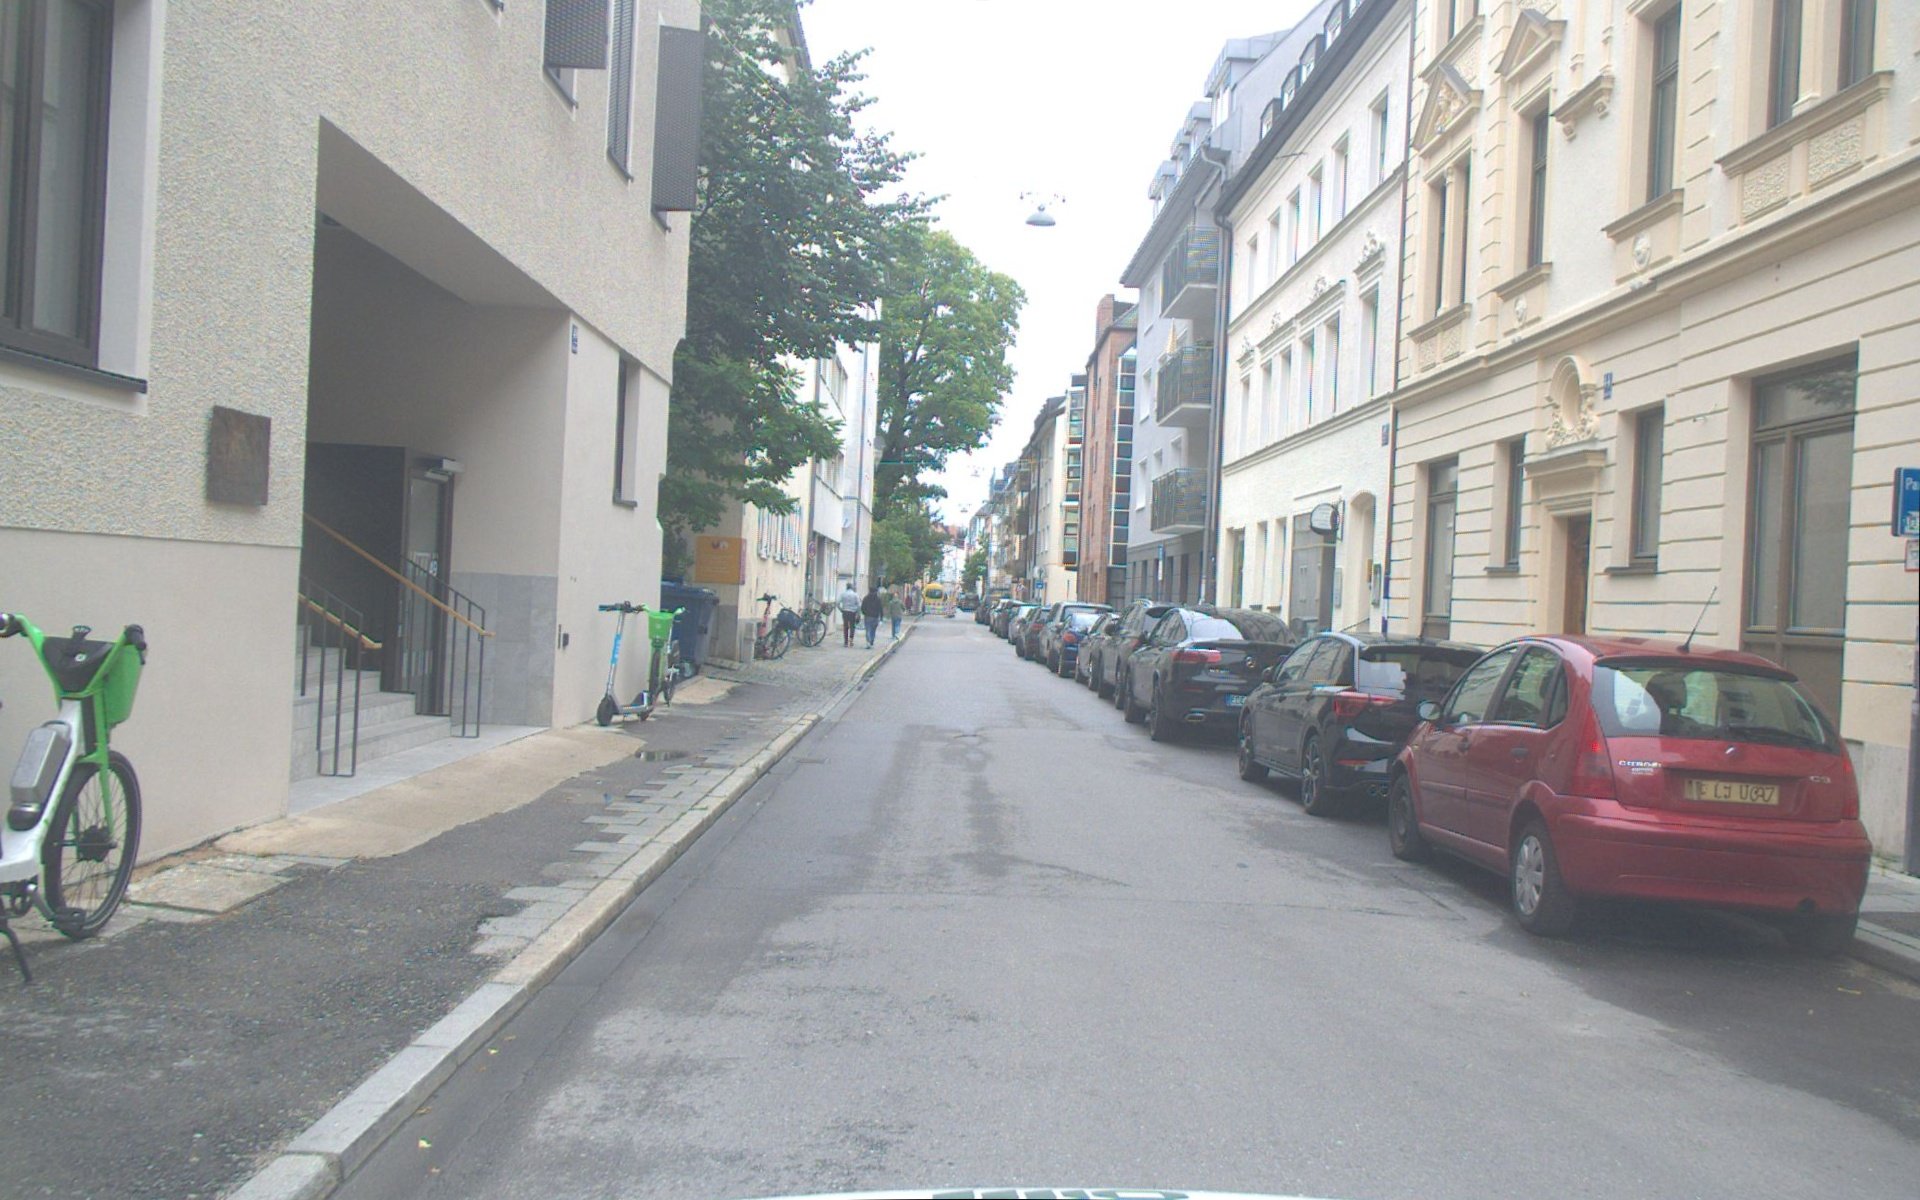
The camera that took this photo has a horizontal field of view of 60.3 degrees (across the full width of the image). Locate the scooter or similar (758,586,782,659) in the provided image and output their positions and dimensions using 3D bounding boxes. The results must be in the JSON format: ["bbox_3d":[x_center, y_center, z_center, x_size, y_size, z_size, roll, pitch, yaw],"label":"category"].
[{"bbox_3d":[-3.725,0.435,32.524,0.311,1.400,1.239,2,-1,-1],"label":"scooter or similar"}]

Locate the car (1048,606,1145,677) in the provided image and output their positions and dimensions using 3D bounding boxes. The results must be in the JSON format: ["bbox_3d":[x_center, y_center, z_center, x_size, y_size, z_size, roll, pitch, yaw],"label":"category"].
[{"bbox_3d":[2.935,0.871,36.277,1.771,1.387,3.945,2,0,0],"label":"car"}]

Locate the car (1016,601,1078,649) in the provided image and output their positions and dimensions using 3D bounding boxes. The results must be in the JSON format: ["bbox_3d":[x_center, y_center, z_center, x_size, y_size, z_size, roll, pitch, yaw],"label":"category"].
[{"bbox_3d":[2.941,0.819,56.499,1.710,1.487,4.149,3,0,-2],"label":"car"}]

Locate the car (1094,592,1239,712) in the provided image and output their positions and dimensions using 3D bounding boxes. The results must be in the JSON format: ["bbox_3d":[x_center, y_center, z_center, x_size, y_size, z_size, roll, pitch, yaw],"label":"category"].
[{"bbox_3d":[3.228,0.761,26.602,1.642,1.690,4.512,3,0,-1],"label":"car"}]

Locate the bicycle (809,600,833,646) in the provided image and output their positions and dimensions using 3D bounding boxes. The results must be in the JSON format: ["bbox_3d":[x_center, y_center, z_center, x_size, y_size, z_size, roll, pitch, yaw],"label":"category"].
[{"bbox_3d":[-3.708,0.599,44.115,0.551,1.179,1.718,3,0,-6],"label":"bicycle"}]

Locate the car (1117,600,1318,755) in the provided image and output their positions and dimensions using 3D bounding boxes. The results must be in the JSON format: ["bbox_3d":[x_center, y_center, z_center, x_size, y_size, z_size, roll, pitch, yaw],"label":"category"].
[{"bbox_3d":[3.099,0.860,20.782,1.667,1.635,4.684,3,0,-1],"label":"car"}]

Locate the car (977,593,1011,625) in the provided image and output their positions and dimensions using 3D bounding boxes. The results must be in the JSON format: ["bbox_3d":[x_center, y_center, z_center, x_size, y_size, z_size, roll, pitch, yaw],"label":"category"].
[{"bbox_3d":[2.192,0.563,107.421,1.766,1.851,3.998,6,0,-3],"label":"car"}]

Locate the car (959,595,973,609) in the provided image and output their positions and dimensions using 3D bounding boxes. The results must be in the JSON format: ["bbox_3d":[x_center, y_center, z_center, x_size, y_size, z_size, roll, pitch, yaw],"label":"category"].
[{"bbox_3d":[0.772,0.268,213.483,1.764,1.642,4.000,3,0,0],"label":"car"}]

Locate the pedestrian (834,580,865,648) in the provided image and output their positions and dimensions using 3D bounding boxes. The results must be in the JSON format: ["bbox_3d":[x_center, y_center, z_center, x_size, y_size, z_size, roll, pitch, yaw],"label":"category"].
[{"bbox_3d":[-3.088,0.390,46.304,0.704,1.827,0.916,4,-1,-1],"label":"pedestrian"}]

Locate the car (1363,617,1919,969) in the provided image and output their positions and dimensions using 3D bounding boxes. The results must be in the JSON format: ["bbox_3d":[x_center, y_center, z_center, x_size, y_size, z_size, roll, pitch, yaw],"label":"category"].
[{"bbox_3d":[3.708,0.929,9.684,1.642,1.518,3.852,3,0,-1],"label":"car"}]

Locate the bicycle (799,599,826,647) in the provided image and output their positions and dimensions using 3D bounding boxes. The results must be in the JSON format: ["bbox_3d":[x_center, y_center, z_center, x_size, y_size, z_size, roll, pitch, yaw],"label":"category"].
[{"bbox_3d":[-3.765,0.586,42.398,0.449,1.179,1.605,5,0,0],"label":"bicycle"}]

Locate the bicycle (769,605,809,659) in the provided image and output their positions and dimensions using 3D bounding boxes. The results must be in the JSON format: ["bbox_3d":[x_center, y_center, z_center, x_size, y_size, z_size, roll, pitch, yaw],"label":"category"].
[{"bbox_3d":[-3.527,0.641,34.259,0.690,1.001,1.821,7,-1,-5],"label":"bicycle"}]

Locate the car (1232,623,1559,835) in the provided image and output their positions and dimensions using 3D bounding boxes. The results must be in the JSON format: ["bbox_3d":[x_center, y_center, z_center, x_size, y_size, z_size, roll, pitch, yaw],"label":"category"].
[{"bbox_3d":[3.559,0.986,14.261,1.642,1.417,4.065,3,0,-1],"label":"car"}]

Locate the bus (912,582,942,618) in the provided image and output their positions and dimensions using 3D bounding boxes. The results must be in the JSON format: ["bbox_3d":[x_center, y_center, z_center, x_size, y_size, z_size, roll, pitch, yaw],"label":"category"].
[{"bbox_3d":[-3.042,0.019,153.255,2.540,3.156,6.305,2,0,0],"label":"bus"}]

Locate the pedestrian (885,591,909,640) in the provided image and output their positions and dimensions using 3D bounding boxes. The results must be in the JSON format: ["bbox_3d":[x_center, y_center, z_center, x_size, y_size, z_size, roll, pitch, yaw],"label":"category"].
[{"bbox_3d":[-2.278,0.566,60.006,0.738,1.687,0.906,4,-1,-1],"label":"pedestrian"}]

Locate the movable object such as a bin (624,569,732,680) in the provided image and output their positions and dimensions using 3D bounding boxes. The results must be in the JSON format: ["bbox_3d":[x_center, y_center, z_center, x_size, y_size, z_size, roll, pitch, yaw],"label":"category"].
[{"bbox_3d":[-4.183,0.338,24.633,1.150,1.466,1.249,7,1,5],"label":"movable object such as a bin"}]

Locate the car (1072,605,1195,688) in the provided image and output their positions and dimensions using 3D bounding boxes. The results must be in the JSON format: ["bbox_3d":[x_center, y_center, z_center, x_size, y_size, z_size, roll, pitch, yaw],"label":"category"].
[{"bbox_3d":[3.252,0.838,31.745,1.763,1.410,4.348,2,0,-1],"label":"car"}]

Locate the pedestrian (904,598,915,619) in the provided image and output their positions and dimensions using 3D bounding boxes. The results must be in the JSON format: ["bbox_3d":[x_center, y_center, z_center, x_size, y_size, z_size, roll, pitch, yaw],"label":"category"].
[{"bbox_3d":[-3.646,0.608,119.861,0.740,1.517,0.831,2,-1,-1],"label":"pedestrian"}]

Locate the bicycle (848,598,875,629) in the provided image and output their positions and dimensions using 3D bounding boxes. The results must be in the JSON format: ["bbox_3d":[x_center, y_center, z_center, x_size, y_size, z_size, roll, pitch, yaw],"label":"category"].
[{"bbox_3d":[-4.015,0.545,67.074,0.631,1.239,1.655,2,-1,-19],"label":"bicycle"}]

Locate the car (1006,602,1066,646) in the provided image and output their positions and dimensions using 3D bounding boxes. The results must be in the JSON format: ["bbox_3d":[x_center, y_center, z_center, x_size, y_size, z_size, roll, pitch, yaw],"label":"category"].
[{"bbox_3d":[2.763,0.849,61.096,1.799,1.442,4.599,3,0,-2],"label":"car"}]

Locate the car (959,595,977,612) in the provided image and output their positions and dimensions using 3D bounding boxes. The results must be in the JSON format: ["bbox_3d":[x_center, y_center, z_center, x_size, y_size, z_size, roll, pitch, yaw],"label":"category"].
[{"bbox_3d":[0.900,0.362,185.211,1.766,1.741,3.825,6,0,-2],"label":"car"}]

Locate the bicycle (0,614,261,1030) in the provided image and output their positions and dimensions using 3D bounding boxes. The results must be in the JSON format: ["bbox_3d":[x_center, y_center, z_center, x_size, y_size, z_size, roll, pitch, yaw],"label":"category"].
[{"bbox_3d":[-3.038,0.655,5.559,0.527,1.158,1.916,4,0,-1],"label":"bicycle"}]

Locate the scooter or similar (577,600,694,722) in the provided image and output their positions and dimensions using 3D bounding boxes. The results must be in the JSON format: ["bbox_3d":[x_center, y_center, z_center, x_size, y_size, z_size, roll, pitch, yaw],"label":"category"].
[{"bbox_3d":[-3.340,0.621,17.130,0.540,1.163,1.359,5,0,16],"label":"scooter or similar"}]

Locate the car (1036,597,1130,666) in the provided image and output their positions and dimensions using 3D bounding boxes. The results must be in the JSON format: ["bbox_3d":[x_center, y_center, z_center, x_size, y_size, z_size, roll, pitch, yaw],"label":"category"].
[{"bbox_3d":[3.007,0.743,41.198,1.838,1.598,4.314,1,0,-2],"label":"car"}]

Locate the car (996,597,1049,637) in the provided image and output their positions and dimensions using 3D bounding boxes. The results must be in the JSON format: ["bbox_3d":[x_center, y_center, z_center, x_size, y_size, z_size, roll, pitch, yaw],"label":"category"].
[{"bbox_3d":[2.657,0.707,70.943,1.848,1.582,4.389,3,0,-3],"label":"car"}]

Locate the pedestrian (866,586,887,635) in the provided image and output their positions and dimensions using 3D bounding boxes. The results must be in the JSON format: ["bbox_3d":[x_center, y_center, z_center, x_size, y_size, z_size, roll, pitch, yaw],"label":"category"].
[{"bbox_3d":[-3.025,0.375,59.971,0.600,1.743,0.823,4,-1,-1],"label":"pedestrian"}]

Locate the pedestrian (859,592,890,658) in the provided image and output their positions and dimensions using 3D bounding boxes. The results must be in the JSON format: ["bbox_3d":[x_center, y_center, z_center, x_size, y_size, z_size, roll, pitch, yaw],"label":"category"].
[{"bbox_3d":[-2.396,0.693,46.530,0.704,1.796,0.838,4,-1,-1],"label":"pedestrian"}]

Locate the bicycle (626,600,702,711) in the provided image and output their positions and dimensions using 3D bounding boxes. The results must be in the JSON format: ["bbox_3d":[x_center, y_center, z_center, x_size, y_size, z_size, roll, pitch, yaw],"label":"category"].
[{"bbox_3d":[-3.411,0.616,19.194,0.533,1.181,1.881,4,0,-2],"label":"bicycle"}]

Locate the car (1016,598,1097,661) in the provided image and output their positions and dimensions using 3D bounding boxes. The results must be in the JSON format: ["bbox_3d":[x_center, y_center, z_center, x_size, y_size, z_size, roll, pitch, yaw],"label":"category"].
[{"bbox_3d":[2.635,0.785,46.077,1.803,1.555,4.291,3,0,-2],"label":"car"}]
